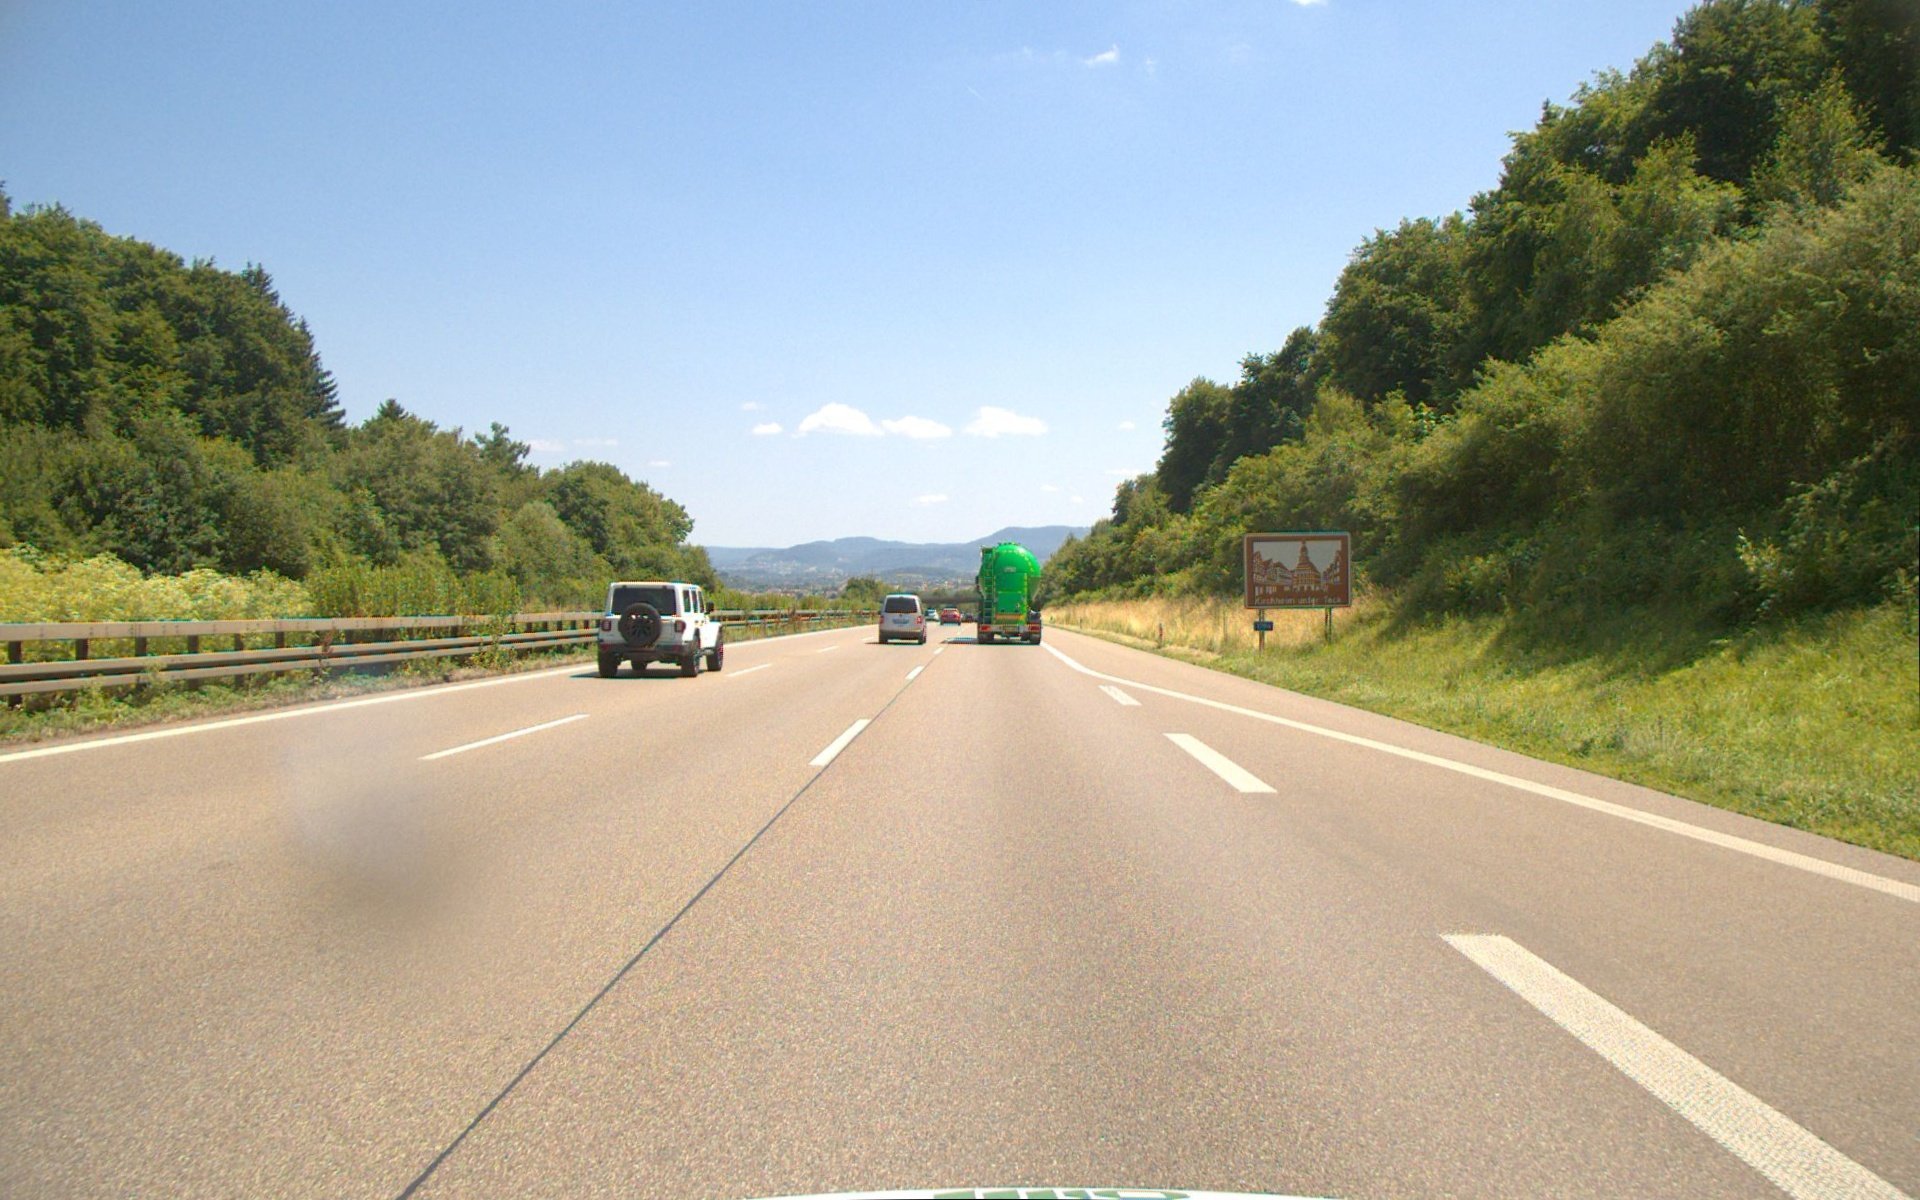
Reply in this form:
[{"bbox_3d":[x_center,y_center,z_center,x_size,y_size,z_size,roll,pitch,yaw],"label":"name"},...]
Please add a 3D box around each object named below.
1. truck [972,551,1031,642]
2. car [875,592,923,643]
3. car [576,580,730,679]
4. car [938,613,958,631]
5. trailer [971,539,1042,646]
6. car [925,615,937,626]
[{"bbox_3d":[1.822,-0.128,74.405,2.458,3.909,4.891,1,0,0],"label":"truck"},{"bbox_3d":[-2.339,0.669,64.047,1.710,1.862,4.800,1,0,-1],"label":"car"},{"bbox_3d":[-6.171,0.570,33.807,2.040,1.862,4.755,1,0,2],"label":"car"},{"bbox_3d":[-1.036,1.890,143.363,1.416,1.578,3.357,1,0,4],"label":"car"},{"bbox_3d":[1.828,-0.263,69.216,2.534,4.098,10.468,1,0,0],"label":"trailer"},{"bbox_3d":[-3.649,2.582,210.282,1.372,1.420,3.213,1,0,2],"label":"car"}]
